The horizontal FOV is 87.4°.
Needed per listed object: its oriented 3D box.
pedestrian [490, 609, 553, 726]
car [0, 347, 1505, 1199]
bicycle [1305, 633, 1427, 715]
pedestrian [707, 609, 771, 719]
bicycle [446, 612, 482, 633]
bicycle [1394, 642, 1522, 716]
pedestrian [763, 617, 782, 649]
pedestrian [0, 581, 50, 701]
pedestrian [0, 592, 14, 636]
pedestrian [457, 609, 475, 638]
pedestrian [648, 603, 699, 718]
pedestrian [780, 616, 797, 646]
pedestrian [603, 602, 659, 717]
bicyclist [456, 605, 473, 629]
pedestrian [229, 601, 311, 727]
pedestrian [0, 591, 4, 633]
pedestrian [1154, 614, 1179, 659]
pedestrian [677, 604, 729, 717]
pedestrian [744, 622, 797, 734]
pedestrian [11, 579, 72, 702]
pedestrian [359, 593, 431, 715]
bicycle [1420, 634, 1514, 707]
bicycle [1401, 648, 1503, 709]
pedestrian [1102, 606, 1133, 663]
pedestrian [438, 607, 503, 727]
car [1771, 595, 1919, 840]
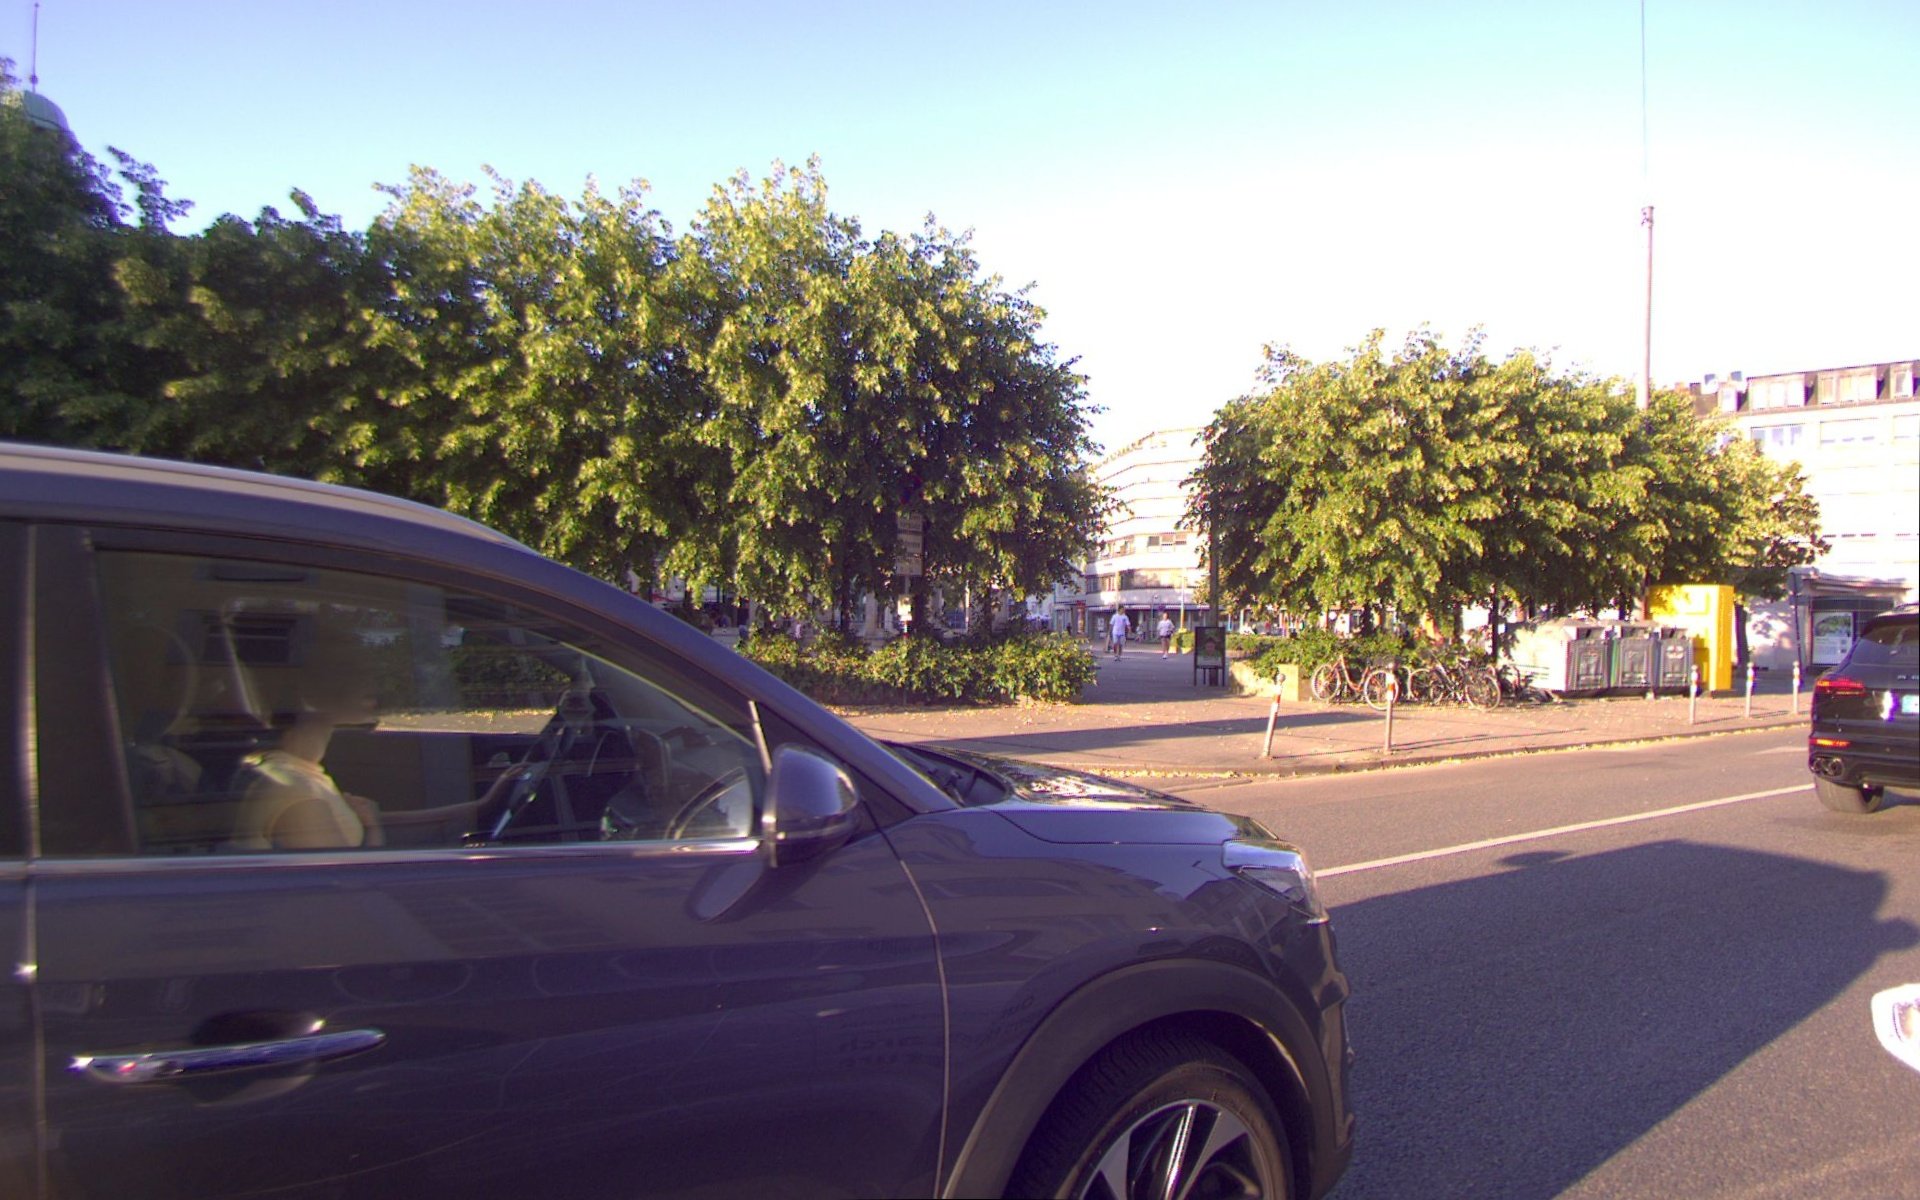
[{"bbox_3d":[-7.814,1.181,17.936,0.725,2.040,0.906,1,0,-3],"label":"pedestrian"},{"bbox_3d":[-1.114,0.646,1.891,4.400,1.712,1.862,1,-2,-32],"label":"car"},{"bbox_3d":[7.083,1.260,17.623,0.543,1.269,2.012,1,0,-34],"label":"bicycle"},{"bbox_3d":[-4.279,1.208,19.443,0.851,2.040,0.894,1,-1,-44],"label":"pedestrian"},{"bbox_3d":[-31.706,1.442,64.194,0.571,1.277,2.023,2,0,36],"label":"bicycle"},{"bbox_3d":[8.820,1.366,17.871,0.543,1.150,2.012,1,0,-34],"label":"bicycle"},{"bbox_3d":[-6.540,1.148,35.014,0.575,1.077,0.462,0,1,-2],"label":"pedestrian"},{"bbox_3d":[-16.582,0.702,17.619,0.892,2.040,0.736,1,0,37],"label":"pedestrian"},{"bbox_3d":[-30.346,0.446,31.736,0.650,1.394,0.513,1,-1,-45],"label":"pedestrian"},{"bbox_3d":[-18.757,0.888,38.117,0.525,1.077,0.457,-1,2,-36],"label":"pedestrian"},{"bbox_3d":[-5.256,1.090,18.394,0.730,2.040,0.759,1,0,-29],"label":"pedestrian"},{"bbox_3d":[-6.138,1.104,35.924,0.519,1.077,0.462,0,1,-2],"label":"pedestrian"},{"bbox_3d":[-5.982,1.064,18.318,0.725,2.040,0.906,1,0,-3],"label":"pedestrian"},{"bbox_3d":[-31.679,1.100,64.210,0.630,1.467,0.768,2,0,36],"label":"bicyclist"},{"bbox_3d":[-11.498,1.049,16.765,0.725,2.040,0.906,1,0,-3],"label":"pedestrian"},{"bbox_3d":[-32.389,0.397,33.547,0.650,1.394,0.513,1,-1,-45],"label":"pedestrian"},{"bbox_3d":[7.655,1.343,37.288,0.824,1.642,0.705,2,0,8],"label":"pedestrian"},{"bbox_3d":[-4.819,1.107,18.815,0.730,2.040,0.872,1,0,-28],"label":"pedestrian"},{"bbox_3d":[-3.559,1.449,18.942,0.840,2.040,0.906,1,0,-3],"label":"pedestrian"},{"bbox_3d":[-15.701,0.679,17.190,0.734,2.040,0.895,1,-1,-42],"label":"pedestrian"},{"bbox_3d":[-9.749,0.910,17.357,0.725,2.040,0.906,1,0,-3],"label":"pedestrian"},{"bbox_3d":[9.704,1.320,19.279,0.440,1.269,1.578,1,0,-31],"label":"bicycle"},{"bbox_3d":[9.223,1.446,18.874,0.543,0.992,1.663,1,0,-34],"label":"bicycle"},{"bbox_3d":[4.933,1.067,31.554,0.879,1.748,0.736,2,0,7],"label":"pedestrian"},{"bbox_3d":[-8.562,1.154,17.610,0.725,2.040,0.905,1,0,-7],"label":"pedestrian"},{"bbox_3d":[8.775,0.876,8.227,4.510,1.737,1.939,1,-2,-32],"label":"car"}]
